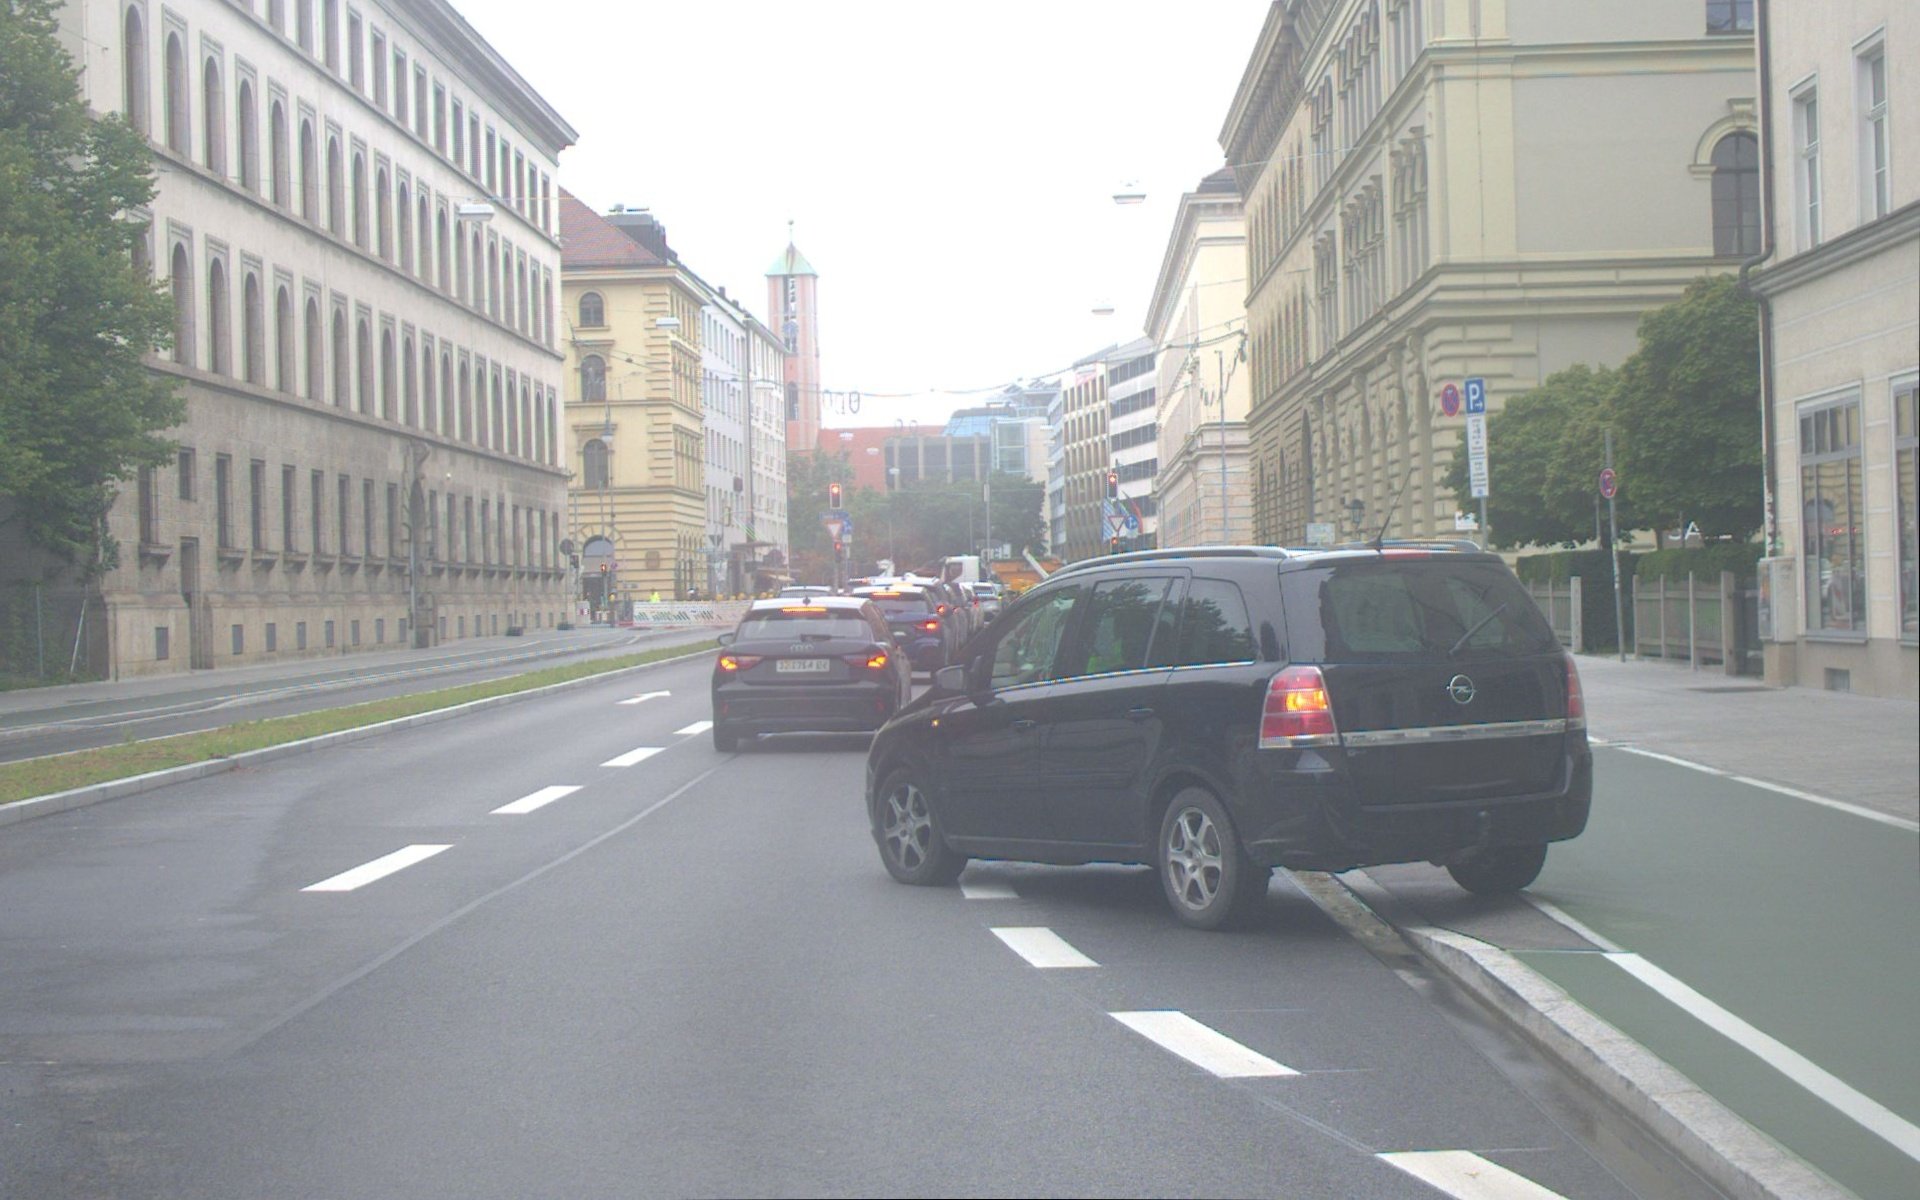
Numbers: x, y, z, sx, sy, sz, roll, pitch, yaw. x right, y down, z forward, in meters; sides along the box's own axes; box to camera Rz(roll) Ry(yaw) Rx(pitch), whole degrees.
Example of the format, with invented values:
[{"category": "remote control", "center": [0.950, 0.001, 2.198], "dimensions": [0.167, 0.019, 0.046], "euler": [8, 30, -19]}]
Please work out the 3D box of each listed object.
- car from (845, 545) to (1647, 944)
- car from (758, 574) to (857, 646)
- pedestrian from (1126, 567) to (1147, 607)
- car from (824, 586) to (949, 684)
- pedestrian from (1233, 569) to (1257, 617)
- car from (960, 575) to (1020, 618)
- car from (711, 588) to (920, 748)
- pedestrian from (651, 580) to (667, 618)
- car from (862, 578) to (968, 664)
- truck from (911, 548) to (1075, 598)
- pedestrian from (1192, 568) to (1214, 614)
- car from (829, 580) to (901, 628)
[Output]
[{"category": "car", "center": [1.182, 0.563, 16.037], "dimensions": [1.764, 1.610, 4.030], "euler": [0, 1, -29]}, {"category": "car", "center": [-3.578, 0.207, 81.220], "dimensions": [1.993, 1.622, 4.000], "euler": [-1, 0, 2]}, {"category": "pedestrian", "center": [7.201, -0.548, 140.282], "dimensions": [0.752, 1.612, 0.712], "euler": [-1, 0, 10]}, {"category": "car", "center": [-1.076, 0.501, 52.037], "dimensions": [1.730, 1.398, 4.000], "euler": [0, 1, 1]}, {"category": "pedestrian", "center": [9.727, -0.239, 117.294], "dimensions": [0.710, 1.612, 0.754], "euler": [-1, 0, 1]}, {"category": "car", "center": [1.081, -0.137, 121.188], "dimensions": [1.993, 1.439, 4.000], "euler": [-1, 0, 2]}, {"category": "car", "center": [-1.315, 0.600, 32.717], "dimensions": [1.730, 1.398, 4.000], "euler": [0, 1, 1]}, {"category": "pedestrian", "center": [-14.480, -0.048, 165.305], "dimensions": [0.656, 1.799, 0.727], "euler": [-1, 0, 1]}, {"category": "car", "center": [-0.758, 0.345, 60.262], "dimensions": [1.730, 1.456, 4.000], "euler": [0, 1, 1]}, {"category": "truck", "center": [1.540, -1.219, 158.262], "dimensions": [7.387, 2.245, 2.179], "euler": [0, 0, 4]}, {"category": "pedestrian", "center": [8.646, -0.326, 122.399], "dimensions": [0.710, 1.612, 0.754], "euler": [-1, 0, 1]}, {"category": "car", "center": [-2.947, 0.107, 107.714], "dimensions": [1.993, 1.439, 4.000], "euler": [-1, 0, 2]}]
